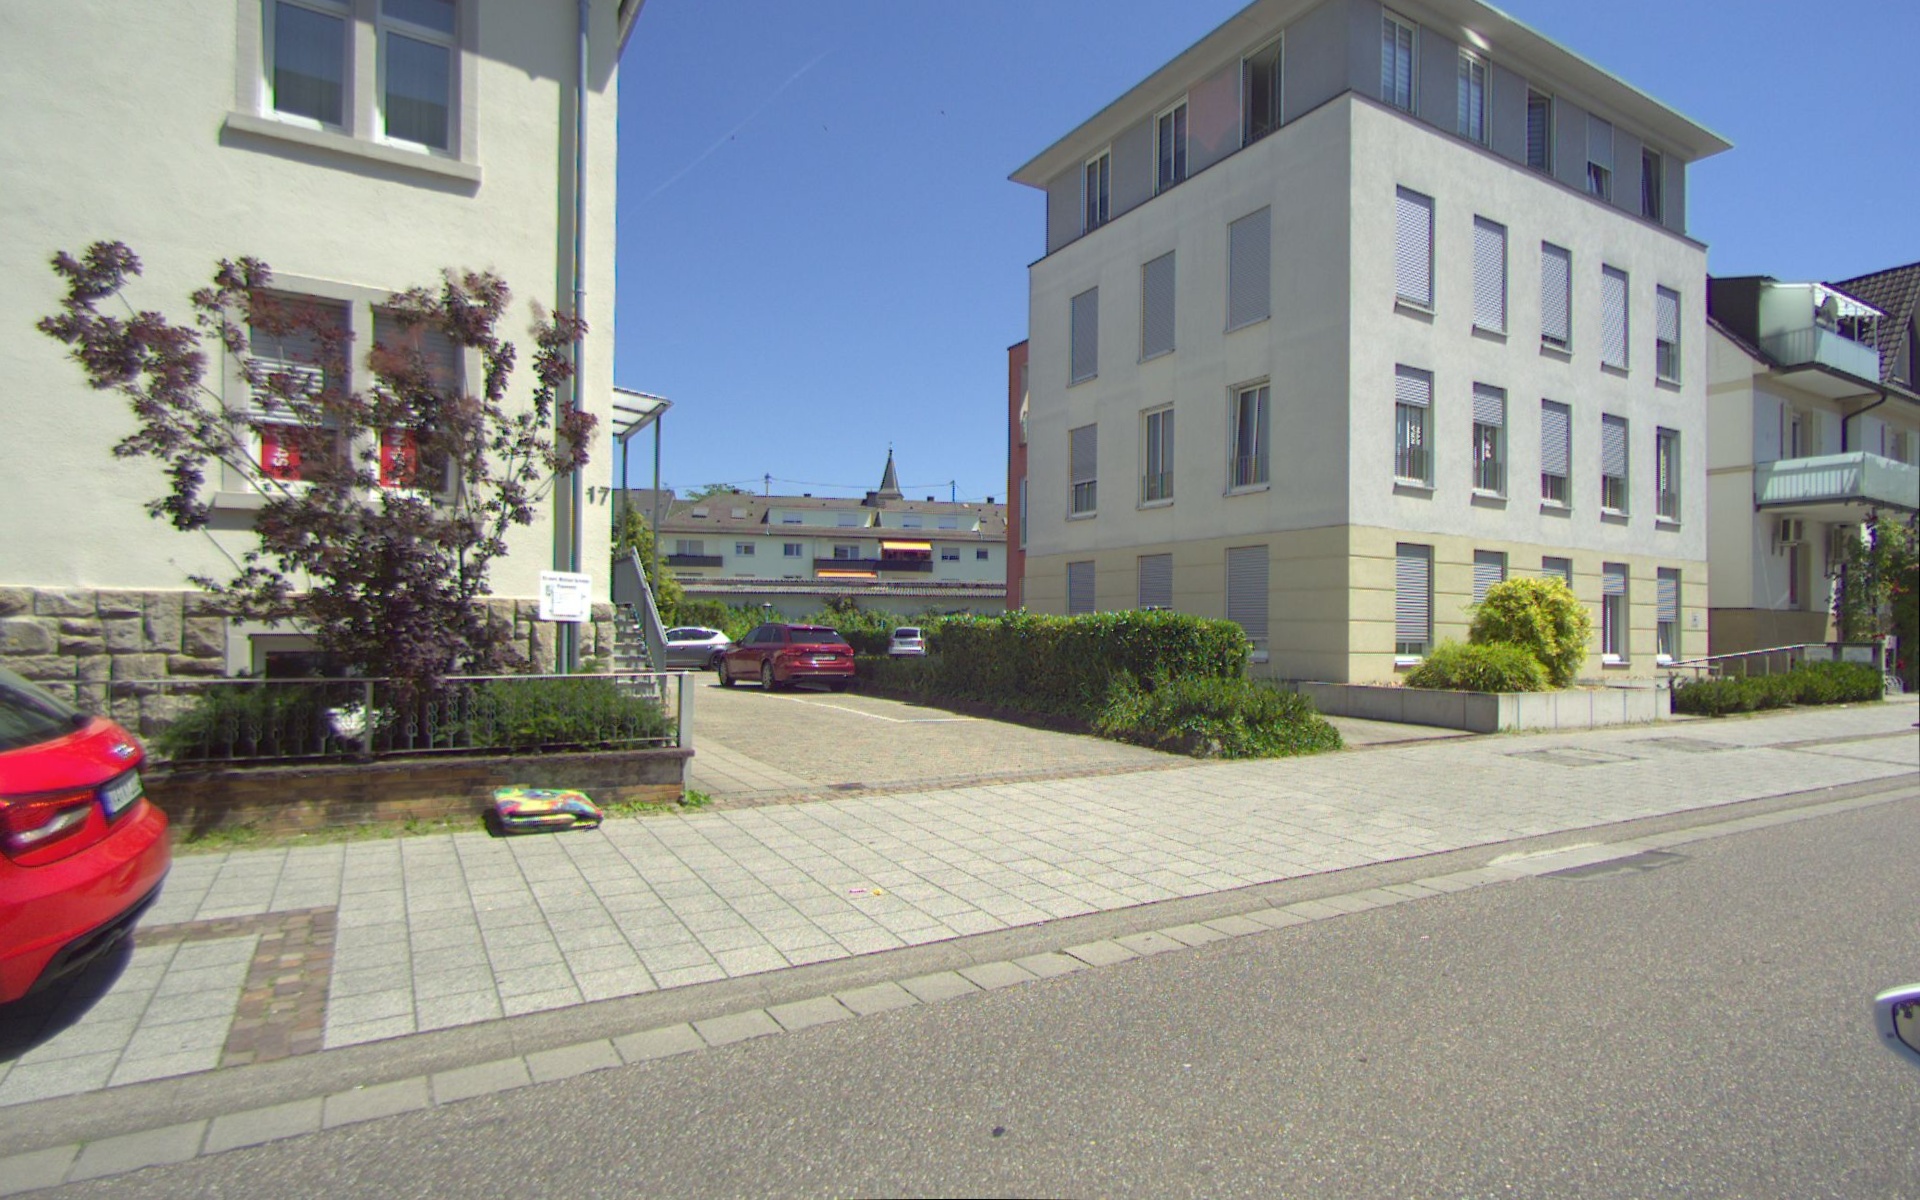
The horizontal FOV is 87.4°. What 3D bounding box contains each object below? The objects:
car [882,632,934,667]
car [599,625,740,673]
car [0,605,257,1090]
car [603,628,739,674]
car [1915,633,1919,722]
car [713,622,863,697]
[{"bbox_3d":[-2.319,2.237,45.886,1.960,1.494,4.188,0,-2,2],"label":"car"},{"bbox_3d":[-9.299,1.557,32.234,3.998,1.457,1.940,2,-2,-31],"label":"car"},{"bbox_3d":[-4.847,0.753,3.094,4.210,1.471,1.724,2,1,-30],"label":"car"},{"bbox_3d":[-9.970,1.728,34.717,4.140,1.494,1.983,2,-2,-32],"label":"car"},{"bbox_3d":[18.490,1.370,17.074,5.089,1.471,1.907,2,1,-30],"label":"car"},{"bbox_3d":[-3.867,1.243,22.056,1.856,1.494,4.151,2,-2,-31],"label":"car"}]
